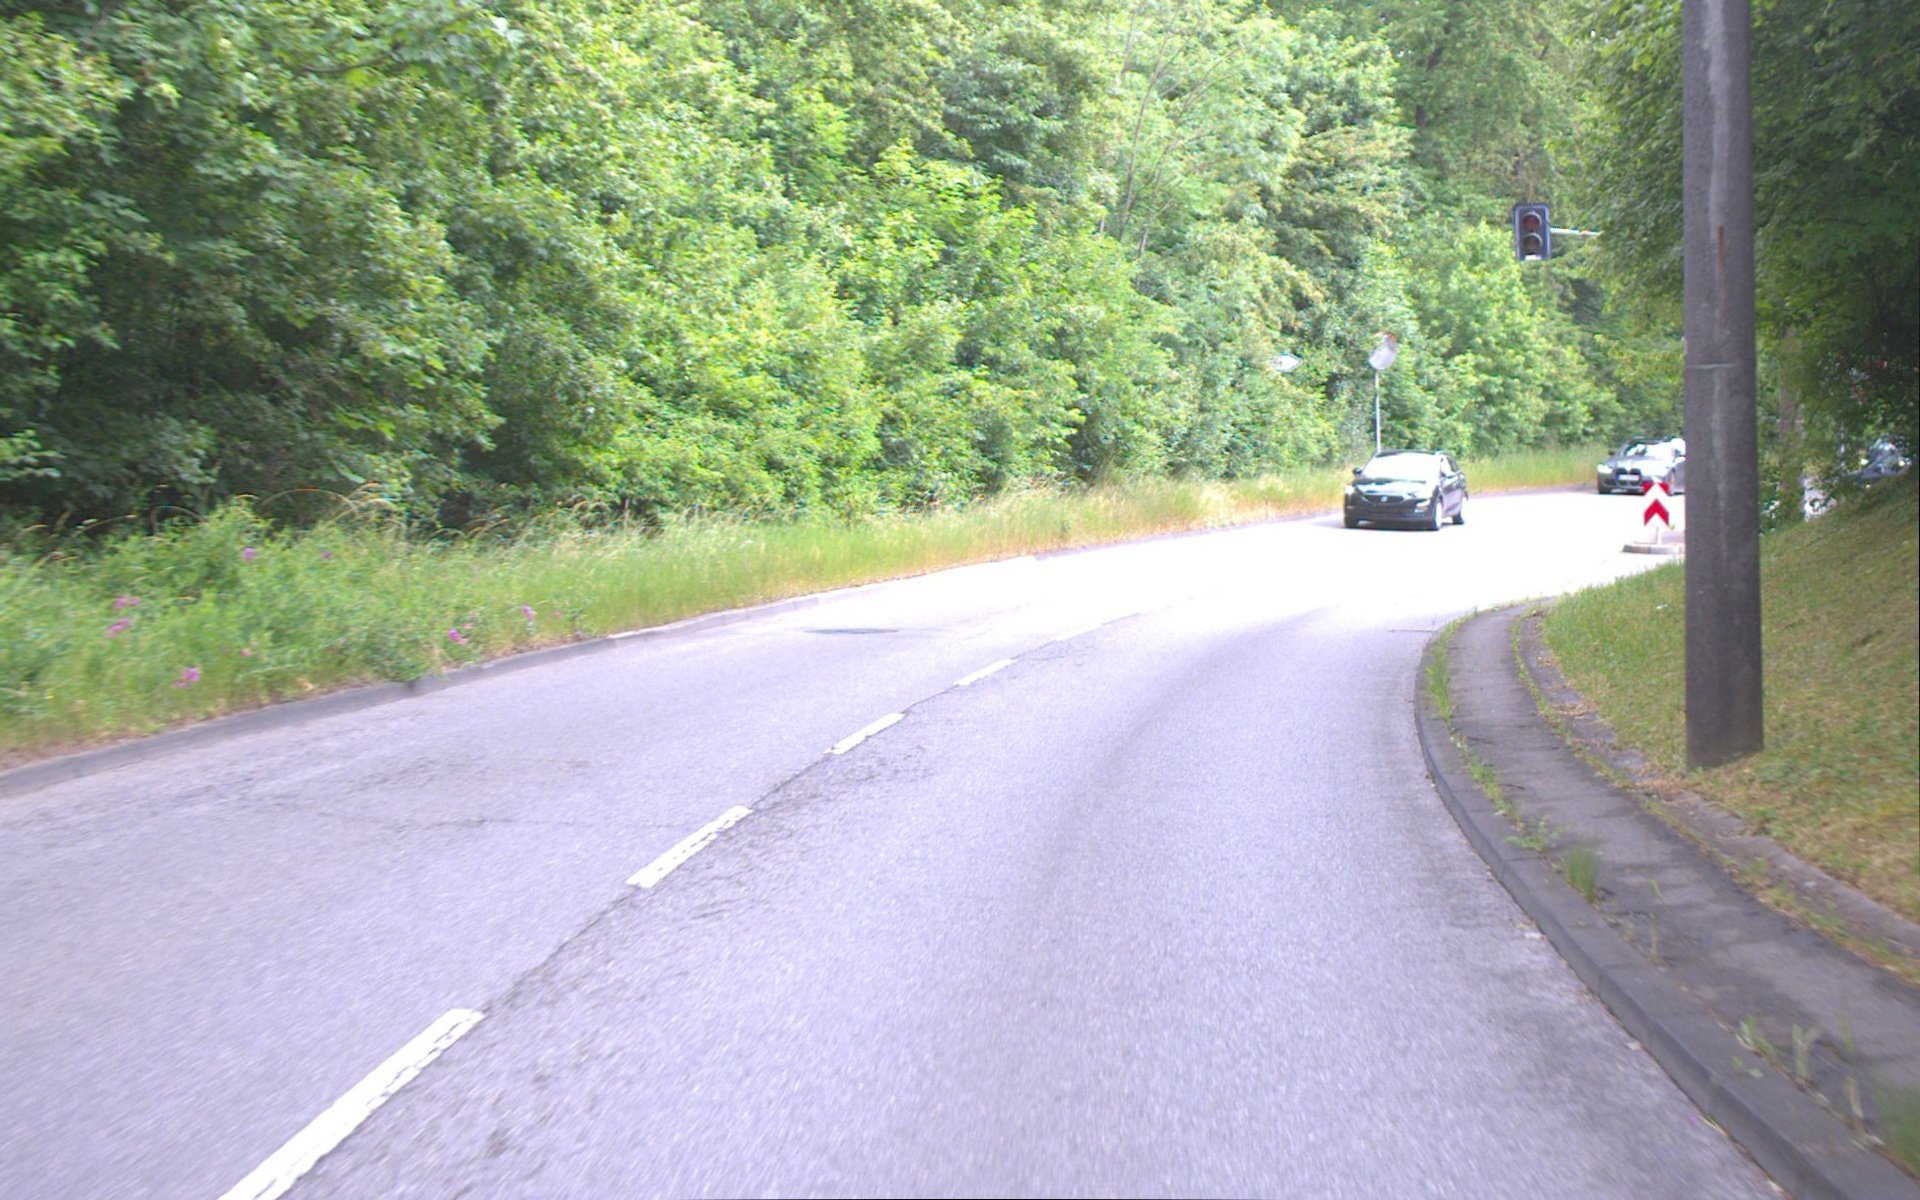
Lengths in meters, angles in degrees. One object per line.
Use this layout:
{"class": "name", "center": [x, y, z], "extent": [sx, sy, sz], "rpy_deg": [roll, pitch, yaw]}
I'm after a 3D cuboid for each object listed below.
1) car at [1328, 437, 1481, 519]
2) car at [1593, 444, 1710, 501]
{"class": "car", "center": [8.464, -2.308, 65.124], "extent": [1.804, 1.429, 4.655], "rpy_deg": [3, 3, 20]}
{"class": "car", "center": [17.905, -3.290, 88.839], "extent": [1.901, 1.349, 4.836], "rpy_deg": [4, 3, 23]}
